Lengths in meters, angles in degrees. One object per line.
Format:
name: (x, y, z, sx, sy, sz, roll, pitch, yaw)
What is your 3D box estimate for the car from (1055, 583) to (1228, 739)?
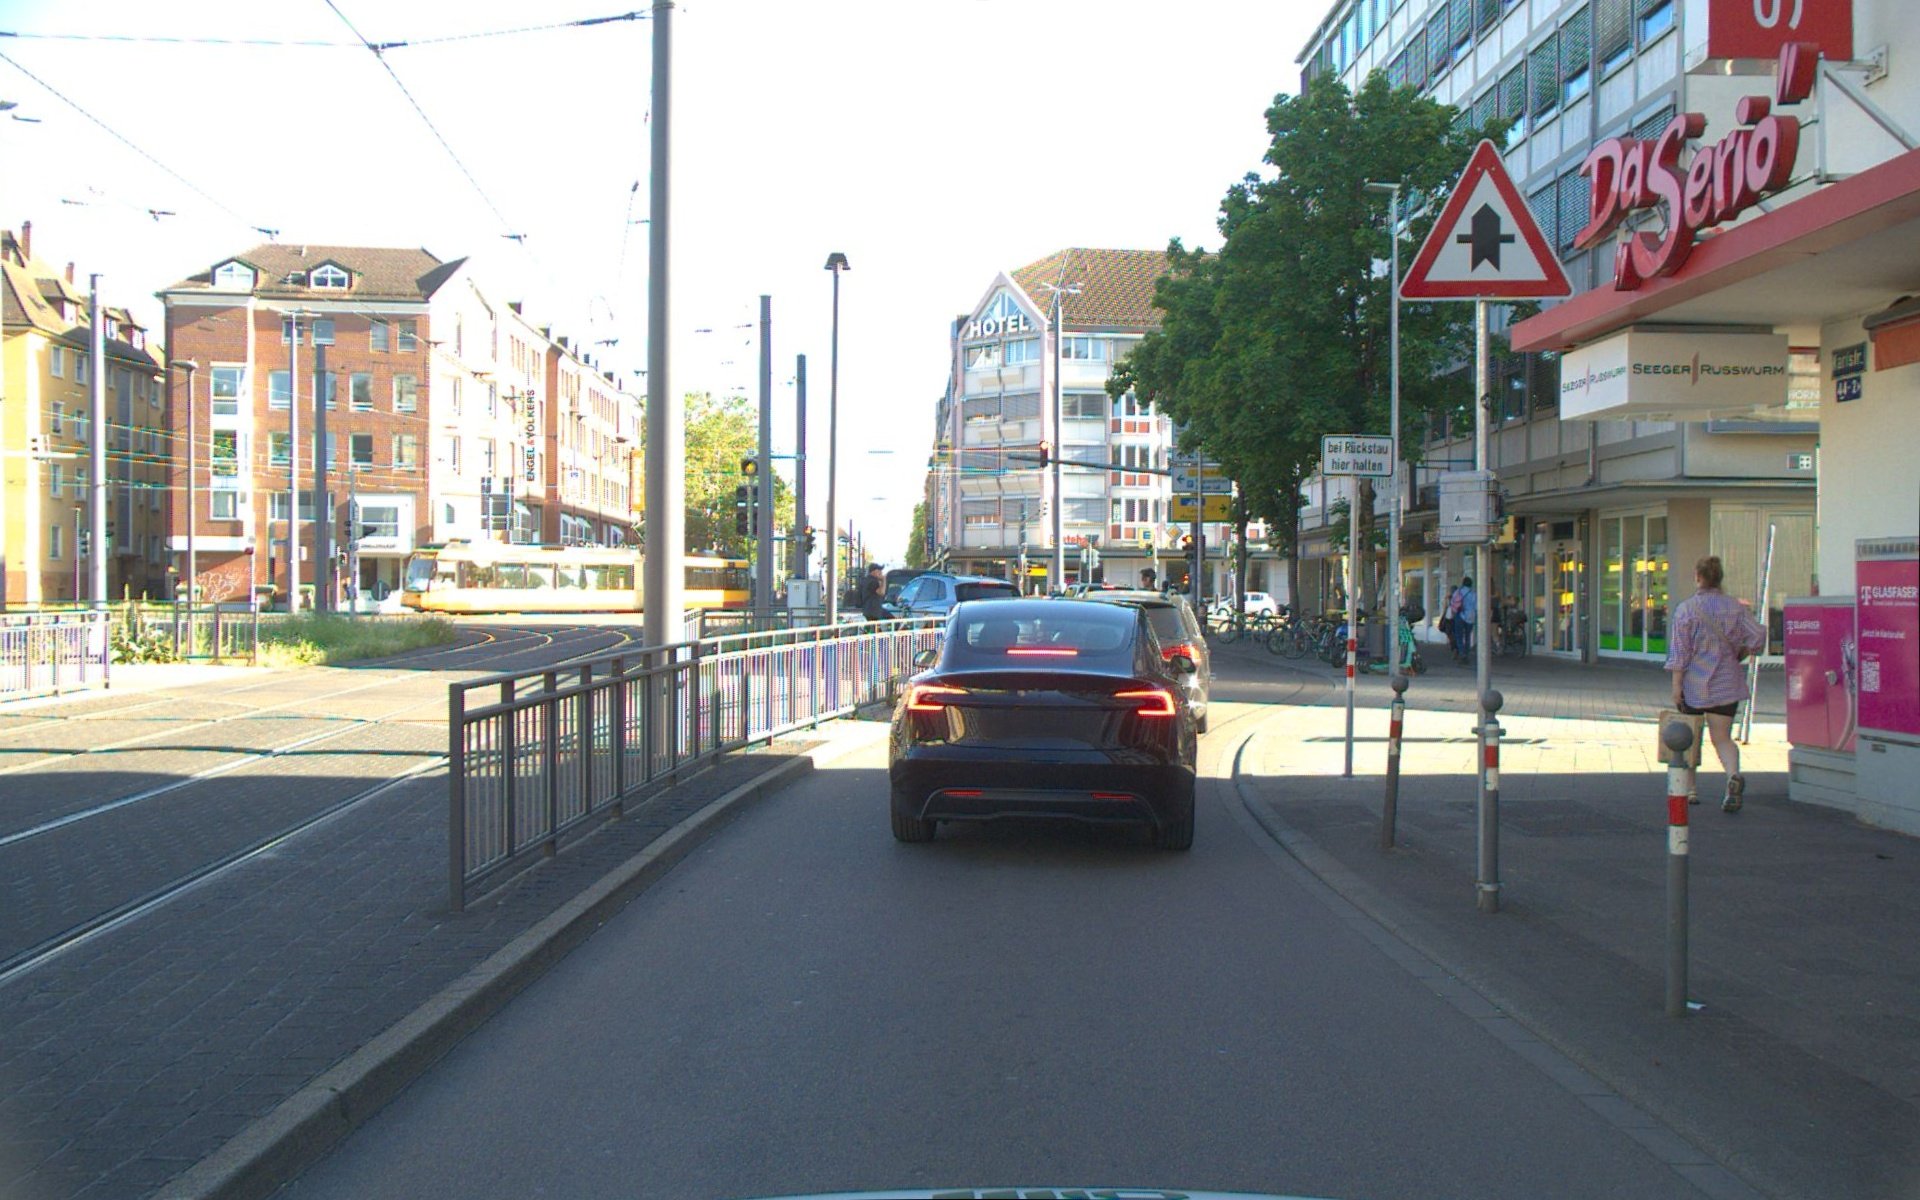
car: (2.000, 0.565, 18.036, 1.618, 1.443, 4.003, 2, 1, 7)

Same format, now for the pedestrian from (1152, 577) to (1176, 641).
pedestrian: (5.564, 0.230, 45.068, 0.550, 1.712, 0.750, 1, 0, 3)

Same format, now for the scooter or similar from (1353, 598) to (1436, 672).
scooter or similar: (8.012, 0.646, 30.498, 1.392, 1.340, 0.690, 1, -2, -27)

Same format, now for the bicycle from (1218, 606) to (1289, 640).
bicycle: (8.174, 0.643, 46.141, 1.885, 0.906, 0.526, 1, 0, -1)

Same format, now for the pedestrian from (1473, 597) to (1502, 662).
pedestrian: (10.684, 0.584, 33.495, 0.411, 1.303, 0.531, 0, 0, 0)

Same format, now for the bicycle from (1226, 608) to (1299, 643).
bicycle: (8.271, 0.700, 45.221, 1.885, 0.906, 0.526, 1, 0, -1)

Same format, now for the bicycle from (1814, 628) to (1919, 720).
bicycle: (11.968, 0.946, 20.918, 1.931, 1.091, 0.775, 2, 0, 17)

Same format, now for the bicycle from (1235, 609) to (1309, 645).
bicycle: (8.317, 0.720, 44.127, 1.885, 0.903, 0.526, 1, 0, -1)

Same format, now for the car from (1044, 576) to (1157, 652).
car: (3.101, 0.294, 37.175, 1.790, 1.545, 3.644, 2, 0, -7)

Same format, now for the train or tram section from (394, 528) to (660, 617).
train or tram section: (-20.710, -1.218, 80.661, 2.629, 3.780, 14.140, 2, 0, 35)

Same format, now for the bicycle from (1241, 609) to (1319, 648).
bicycle: (8.119, 0.724, 41.999, 1.885, 0.967, 0.526, 1, 0, -1)

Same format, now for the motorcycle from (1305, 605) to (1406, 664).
motorcycle: (8.335, 0.716, 34.873, 1.951, 1.147, 0.596, 2, 0, -2)

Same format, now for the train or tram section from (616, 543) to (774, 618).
train or tram section: (-14.628, -0.942, 93.376, 2.581, 3.783, 15.397, 2, 0, 15)

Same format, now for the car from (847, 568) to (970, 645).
car: (-1.200, 0.120, 36.498, 1.794, 1.545, 4.202, 2, 0, -14)

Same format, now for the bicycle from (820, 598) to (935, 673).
bicycle: (-1.303, 0.553, 25.901, 1.696, 1.107, 0.676, 2, 0, -10)

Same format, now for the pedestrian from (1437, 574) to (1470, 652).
pedestrian: (10.783, 0.283, 36.136, 0.520, 1.670, 0.606, -1, 0, 0)

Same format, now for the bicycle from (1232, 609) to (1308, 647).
bicycle: (8.058, 0.722, 43.013, 1.885, 0.967, 0.526, 1, 0, -1)

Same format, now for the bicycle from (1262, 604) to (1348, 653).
bicycle: (8.132, 0.673, 39.008, 1.885, 1.116, 0.554, 1, 0, -1)

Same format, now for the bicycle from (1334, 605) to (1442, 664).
bicycle: (8.502, 0.685, 32.892, 2.010, 1.141, 0.483, 1, 0, -1)

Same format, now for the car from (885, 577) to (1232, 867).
car: (0.452, 0.655, 10.765, 1.812, 1.510, 3.785, 2, 0, -3)

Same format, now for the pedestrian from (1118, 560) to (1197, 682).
pedestrian: (2.941, 0.317, 24.588, 0.992, 1.772, 0.524, 2, 0, -27)

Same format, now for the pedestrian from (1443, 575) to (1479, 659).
pedestrian: (10.142, 0.341, 33.480, 0.583, 1.670, 0.466, -1, 0, 0)

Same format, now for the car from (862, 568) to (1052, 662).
car: (-0.136, 0.228, 30.189, 1.762, 1.545, 4.182, 2, 0, -26)

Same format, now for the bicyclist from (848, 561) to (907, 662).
bicyclist: (-1.290, 0.174, 25.840, 0.821, 1.526, 0.559, 2, 0, -10)

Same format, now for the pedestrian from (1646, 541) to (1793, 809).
pedestrian: (5.098, 0.484, 11.145, 0.800, 1.712, 0.714, 2, 0, 21)

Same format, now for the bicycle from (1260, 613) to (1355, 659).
bicycle: (7.786, 0.806, 37.097, 2.010, 0.999, 0.483, 1, 0, -1)

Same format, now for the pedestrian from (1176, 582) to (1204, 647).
pedestrian: (5.960, 0.367, 42.930, 0.616, 1.642, 0.643, 1, 0, 2)
